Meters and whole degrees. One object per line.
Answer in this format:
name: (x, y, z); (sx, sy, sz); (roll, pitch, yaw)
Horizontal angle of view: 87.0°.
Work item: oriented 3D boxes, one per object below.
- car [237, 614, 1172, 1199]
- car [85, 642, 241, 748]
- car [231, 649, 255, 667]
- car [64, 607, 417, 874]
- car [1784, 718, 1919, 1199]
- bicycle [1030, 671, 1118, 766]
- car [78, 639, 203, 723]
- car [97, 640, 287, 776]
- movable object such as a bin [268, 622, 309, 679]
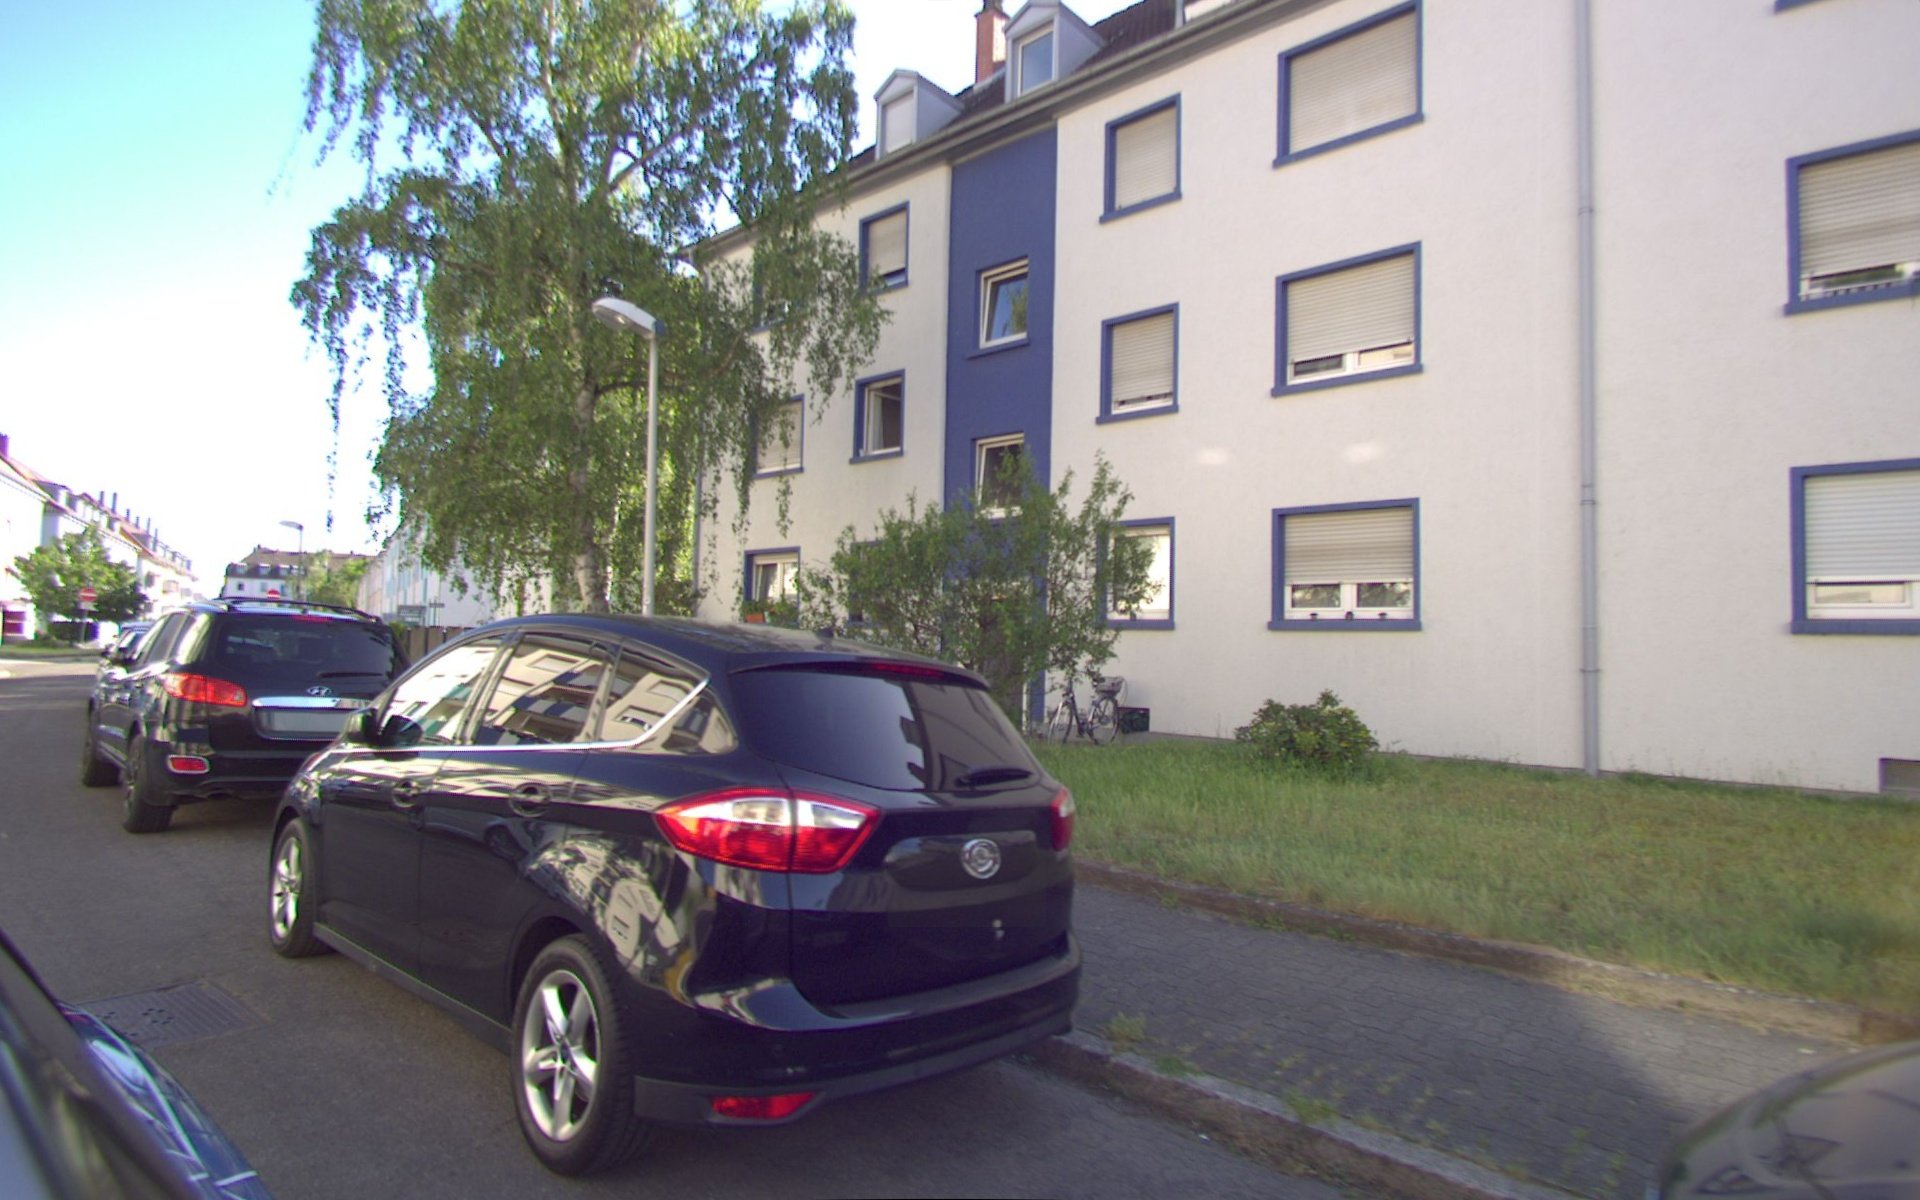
car: (-1.393, 0.911, 4.180); (4.156, 1.572, 1.675); (-1, -5, 42)
car: (-13.054, 1.486, 16.483); (1.657, 1.453, 4.286); (8, -7, -41)
car: (-83.880, 6.777, 118.456); (1.922, 1.915, 4.777); (4, -4, -32)
car: (-6.311, 1.039, 8.660); (4.339, 1.727, 1.538); (-2, -8, 44)
car: (2.952, 0.865, 0.379); (4.015, 1.456, 1.677); (-2, -7, 38)
bicycle: (1.496, 1.522, 13.147); (0.415, 1.161, 1.394); (-2, -5, 40)
car: (-16.599, 1.612, 20.657); (1.656, 1.464, 4.630); (8, -7, -37)
car: (-9.910, 1.308, 12.944); (1.536, 1.453, 3.973); (8, -7, -41)
movable object such as a bin: (-17.198, 1.305, 25.920); (0.765, 1.403, 1.421); (4, -5, -34)
